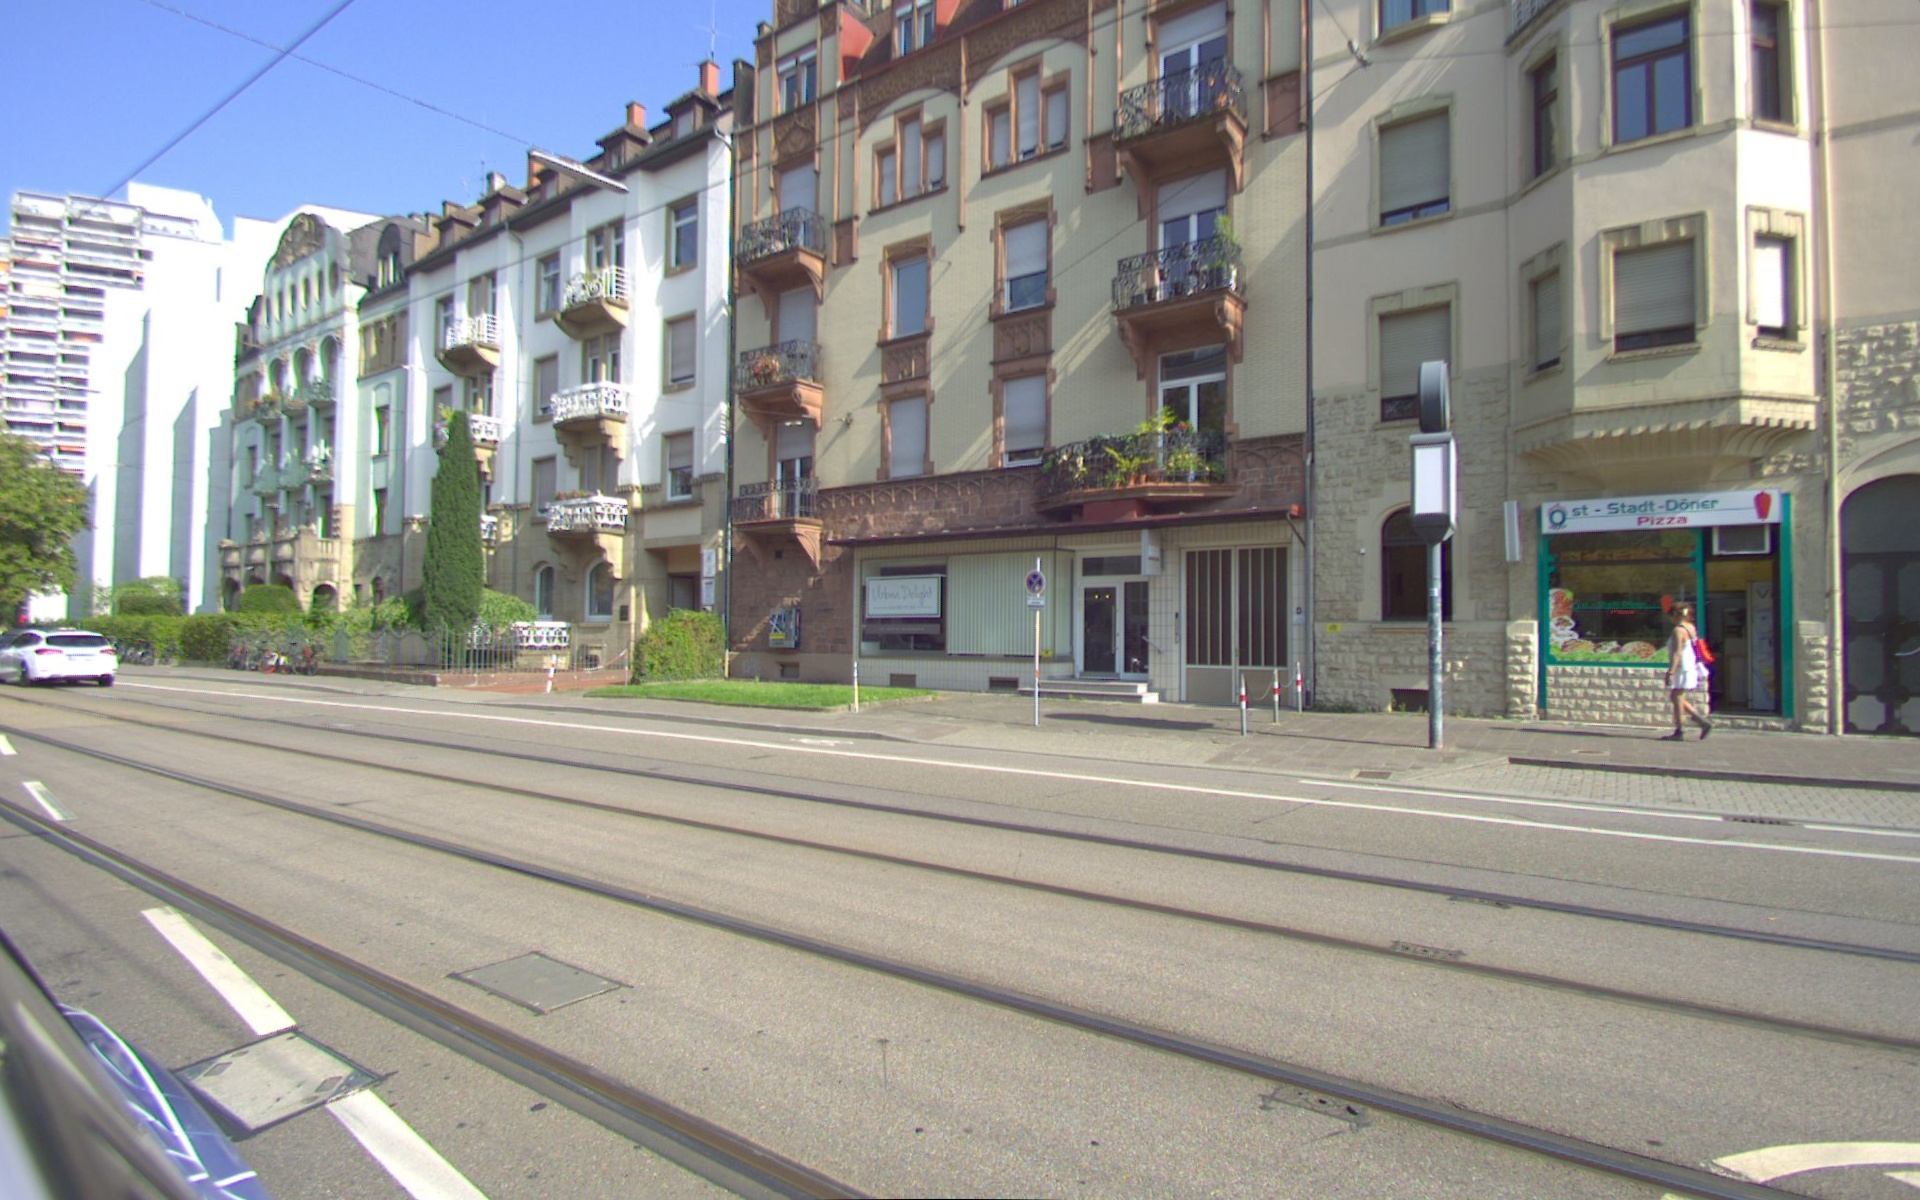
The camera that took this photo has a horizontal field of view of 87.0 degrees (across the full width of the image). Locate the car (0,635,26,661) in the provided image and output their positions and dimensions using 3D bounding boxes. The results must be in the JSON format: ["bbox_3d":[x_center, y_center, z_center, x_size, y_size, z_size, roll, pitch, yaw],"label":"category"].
[{"bbox_3d":[-57.722,2.861,59.892,1.743,1.539,4.009,1,-3,-12],"label":"car"}]

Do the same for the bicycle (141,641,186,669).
[{"bbox_3d":[-32.024,2.221,40.710,0.422,1.096,1.387,-1,-3,19],"label":"bicycle"}]

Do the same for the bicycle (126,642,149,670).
[{"bbox_3d":[-33.187,2.250,40.827,1.676,1.096,0.420,-2,-4,41],"label":"bicycle"}]

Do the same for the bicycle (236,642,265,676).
[{"bbox_3d":[-23.730,1.963,33.835,1.352,1.096,0.367,-2,-3,37],"label":"bicycle"}]

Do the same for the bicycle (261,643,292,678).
[{"bbox_3d":[-21.642,1.903,32.029,1.352,1.096,0.367,-2,-3,37],"label":"bicycle"}]

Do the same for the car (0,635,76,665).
[{"bbox_3d":[-49.454,2.639,53.769,1.744,1.539,4.006,1,-3,-7],"label":"car"}]

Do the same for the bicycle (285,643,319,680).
[{"bbox_3d":[-20.182,1.877,31.022,1.485,1.096,0.367,-2,-3,37],"label":"bicycle"}]

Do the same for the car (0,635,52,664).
[{"bbox_3d":[-51.914,2.689,55.216,1.743,1.539,4.009,1,-3,-12],"label":"car"}]

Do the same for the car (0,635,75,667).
[{"bbox_3d":[-46.861,2.571,50.920,1.743,1.539,4.009,1,-3,-12],"label":"car"}]

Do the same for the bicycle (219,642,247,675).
[{"bbox_3d":[-25.104,2.012,34.947,1.352,1.096,0.367,-2,-3,37],"label":"bicycle"}]

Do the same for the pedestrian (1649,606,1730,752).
[{"bbox_3d":[9.801,1.040,13.627,0.828,1.874,0.767,-1,-3,35],"label":"pedestrian"}]

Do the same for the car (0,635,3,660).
[{"bbox_3d":[-60.322,2.873,61.172,1.743,1.539,4.009,1,-3,-12],"label":"car"}]

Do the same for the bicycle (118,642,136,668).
[{"bbox_3d":[-34.761,2.286,42.217,0.419,1.096,1.678,3,-4,-44],"label":"bicycle"}]

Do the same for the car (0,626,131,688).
[{"bbox_3d":[-23.636,1.470,26.376,4.533,1.466,1.856,-1,-6,34],"label":"car"}]
